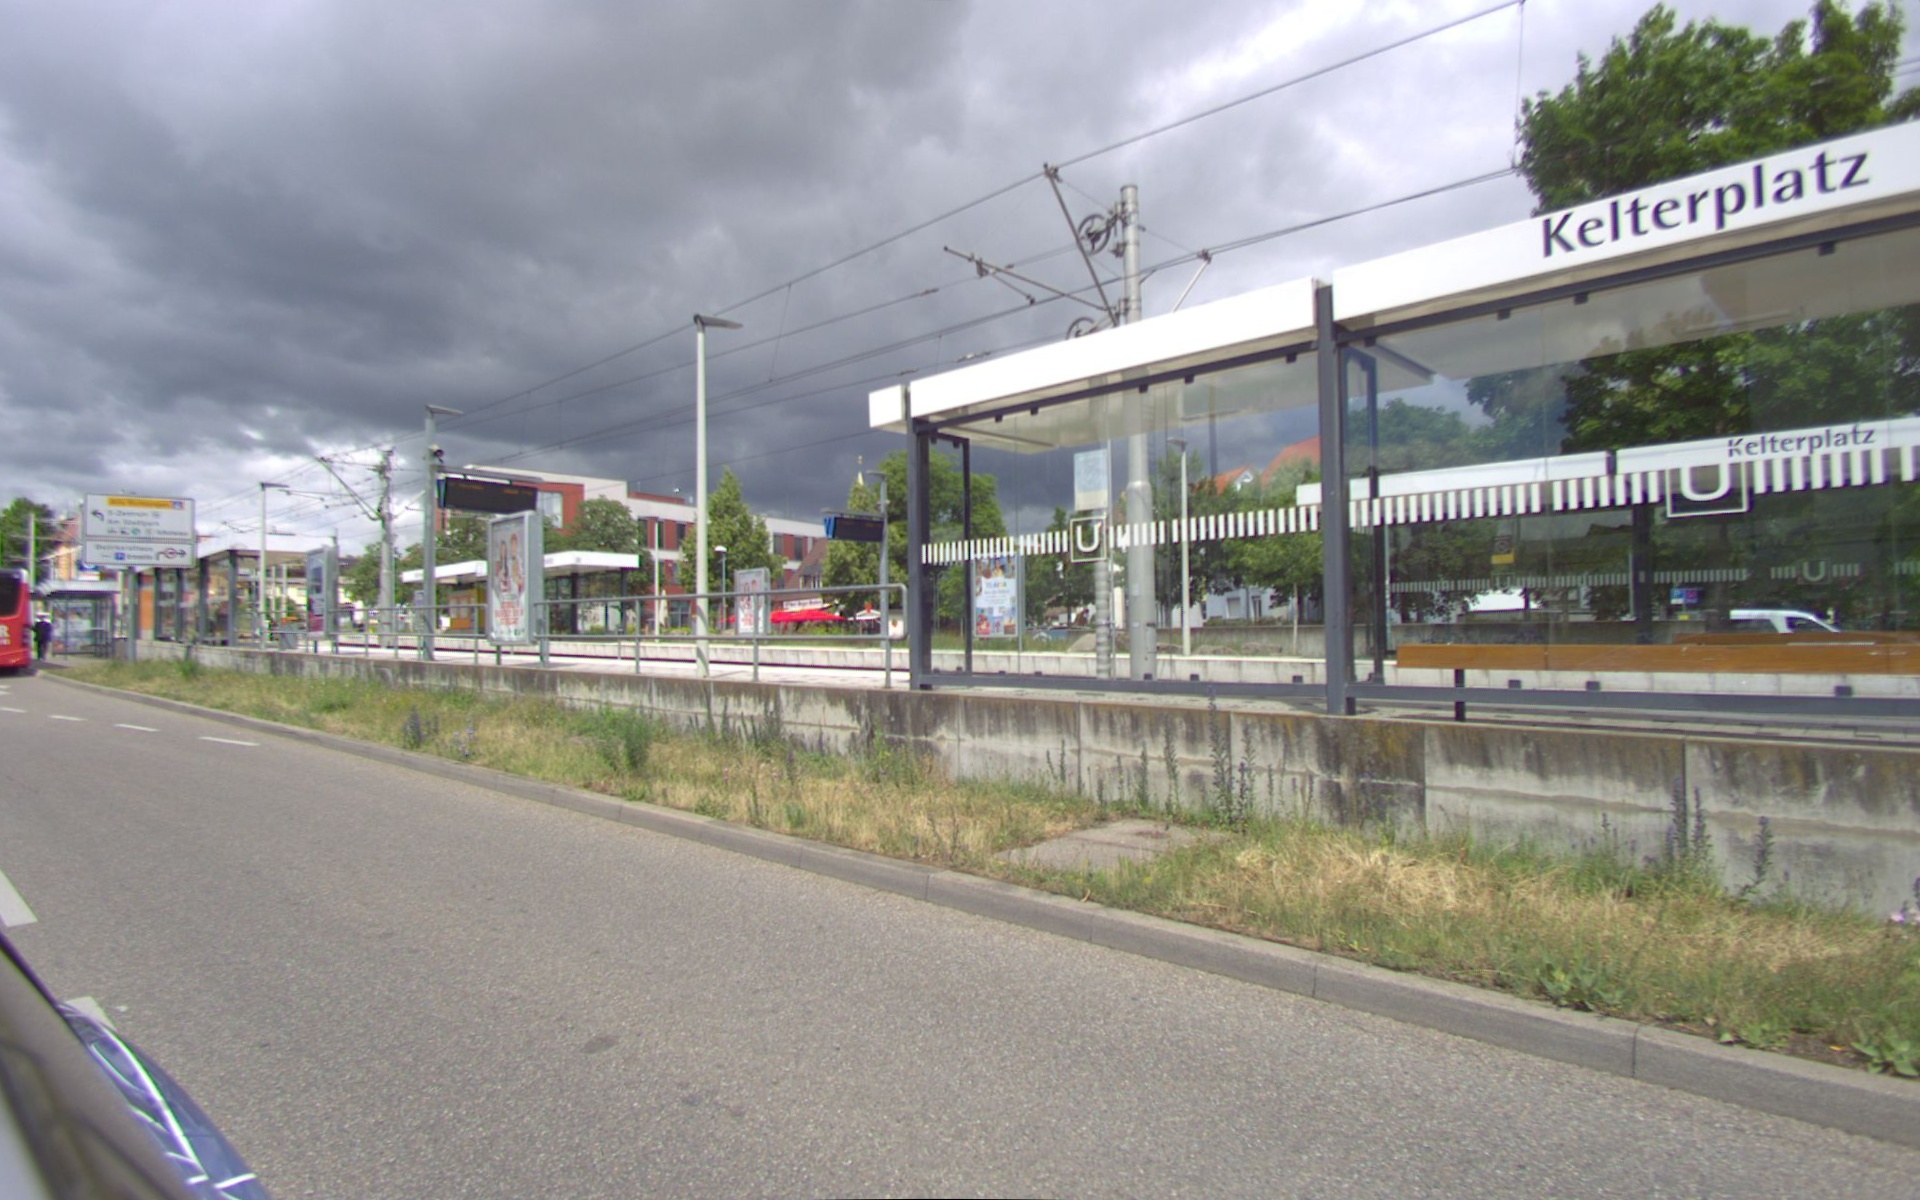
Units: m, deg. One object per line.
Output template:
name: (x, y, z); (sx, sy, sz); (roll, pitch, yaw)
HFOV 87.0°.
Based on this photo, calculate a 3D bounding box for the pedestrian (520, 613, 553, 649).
pedestrian: (-15.596, 1.150, 37.262); (1.112, 1.302, 0.748); (-2, -3, 44)

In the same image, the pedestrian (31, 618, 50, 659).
pedestrian: (-32.355, 1.358, 35.613); (0.416, 1.414, 0.409); (0, -3, -35)

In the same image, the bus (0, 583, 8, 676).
bus: (-36.628, 1.048, 36.492); (9.703, 3.133, 2.696); (-1, -2, 43)

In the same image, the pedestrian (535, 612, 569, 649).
pedestrian: (-14.695, 1.089, 36.453); (1.112, 1.302, 0.748); (-2, -3, 44)

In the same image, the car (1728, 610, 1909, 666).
car: (28.517, 1.293, 33.694); (4.407, 1.691, 1.920); (-4, -4, 44)

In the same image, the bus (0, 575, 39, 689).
bus: (-29.718, 0.891, 30.091); (8.963, 3.093, 2.696); (-1, -1, 43)

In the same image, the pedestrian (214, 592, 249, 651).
pedestrian: (-21.042, 0.620, 29.223); (0.700, 1.669, 0.680); (-4, -4, 42)
